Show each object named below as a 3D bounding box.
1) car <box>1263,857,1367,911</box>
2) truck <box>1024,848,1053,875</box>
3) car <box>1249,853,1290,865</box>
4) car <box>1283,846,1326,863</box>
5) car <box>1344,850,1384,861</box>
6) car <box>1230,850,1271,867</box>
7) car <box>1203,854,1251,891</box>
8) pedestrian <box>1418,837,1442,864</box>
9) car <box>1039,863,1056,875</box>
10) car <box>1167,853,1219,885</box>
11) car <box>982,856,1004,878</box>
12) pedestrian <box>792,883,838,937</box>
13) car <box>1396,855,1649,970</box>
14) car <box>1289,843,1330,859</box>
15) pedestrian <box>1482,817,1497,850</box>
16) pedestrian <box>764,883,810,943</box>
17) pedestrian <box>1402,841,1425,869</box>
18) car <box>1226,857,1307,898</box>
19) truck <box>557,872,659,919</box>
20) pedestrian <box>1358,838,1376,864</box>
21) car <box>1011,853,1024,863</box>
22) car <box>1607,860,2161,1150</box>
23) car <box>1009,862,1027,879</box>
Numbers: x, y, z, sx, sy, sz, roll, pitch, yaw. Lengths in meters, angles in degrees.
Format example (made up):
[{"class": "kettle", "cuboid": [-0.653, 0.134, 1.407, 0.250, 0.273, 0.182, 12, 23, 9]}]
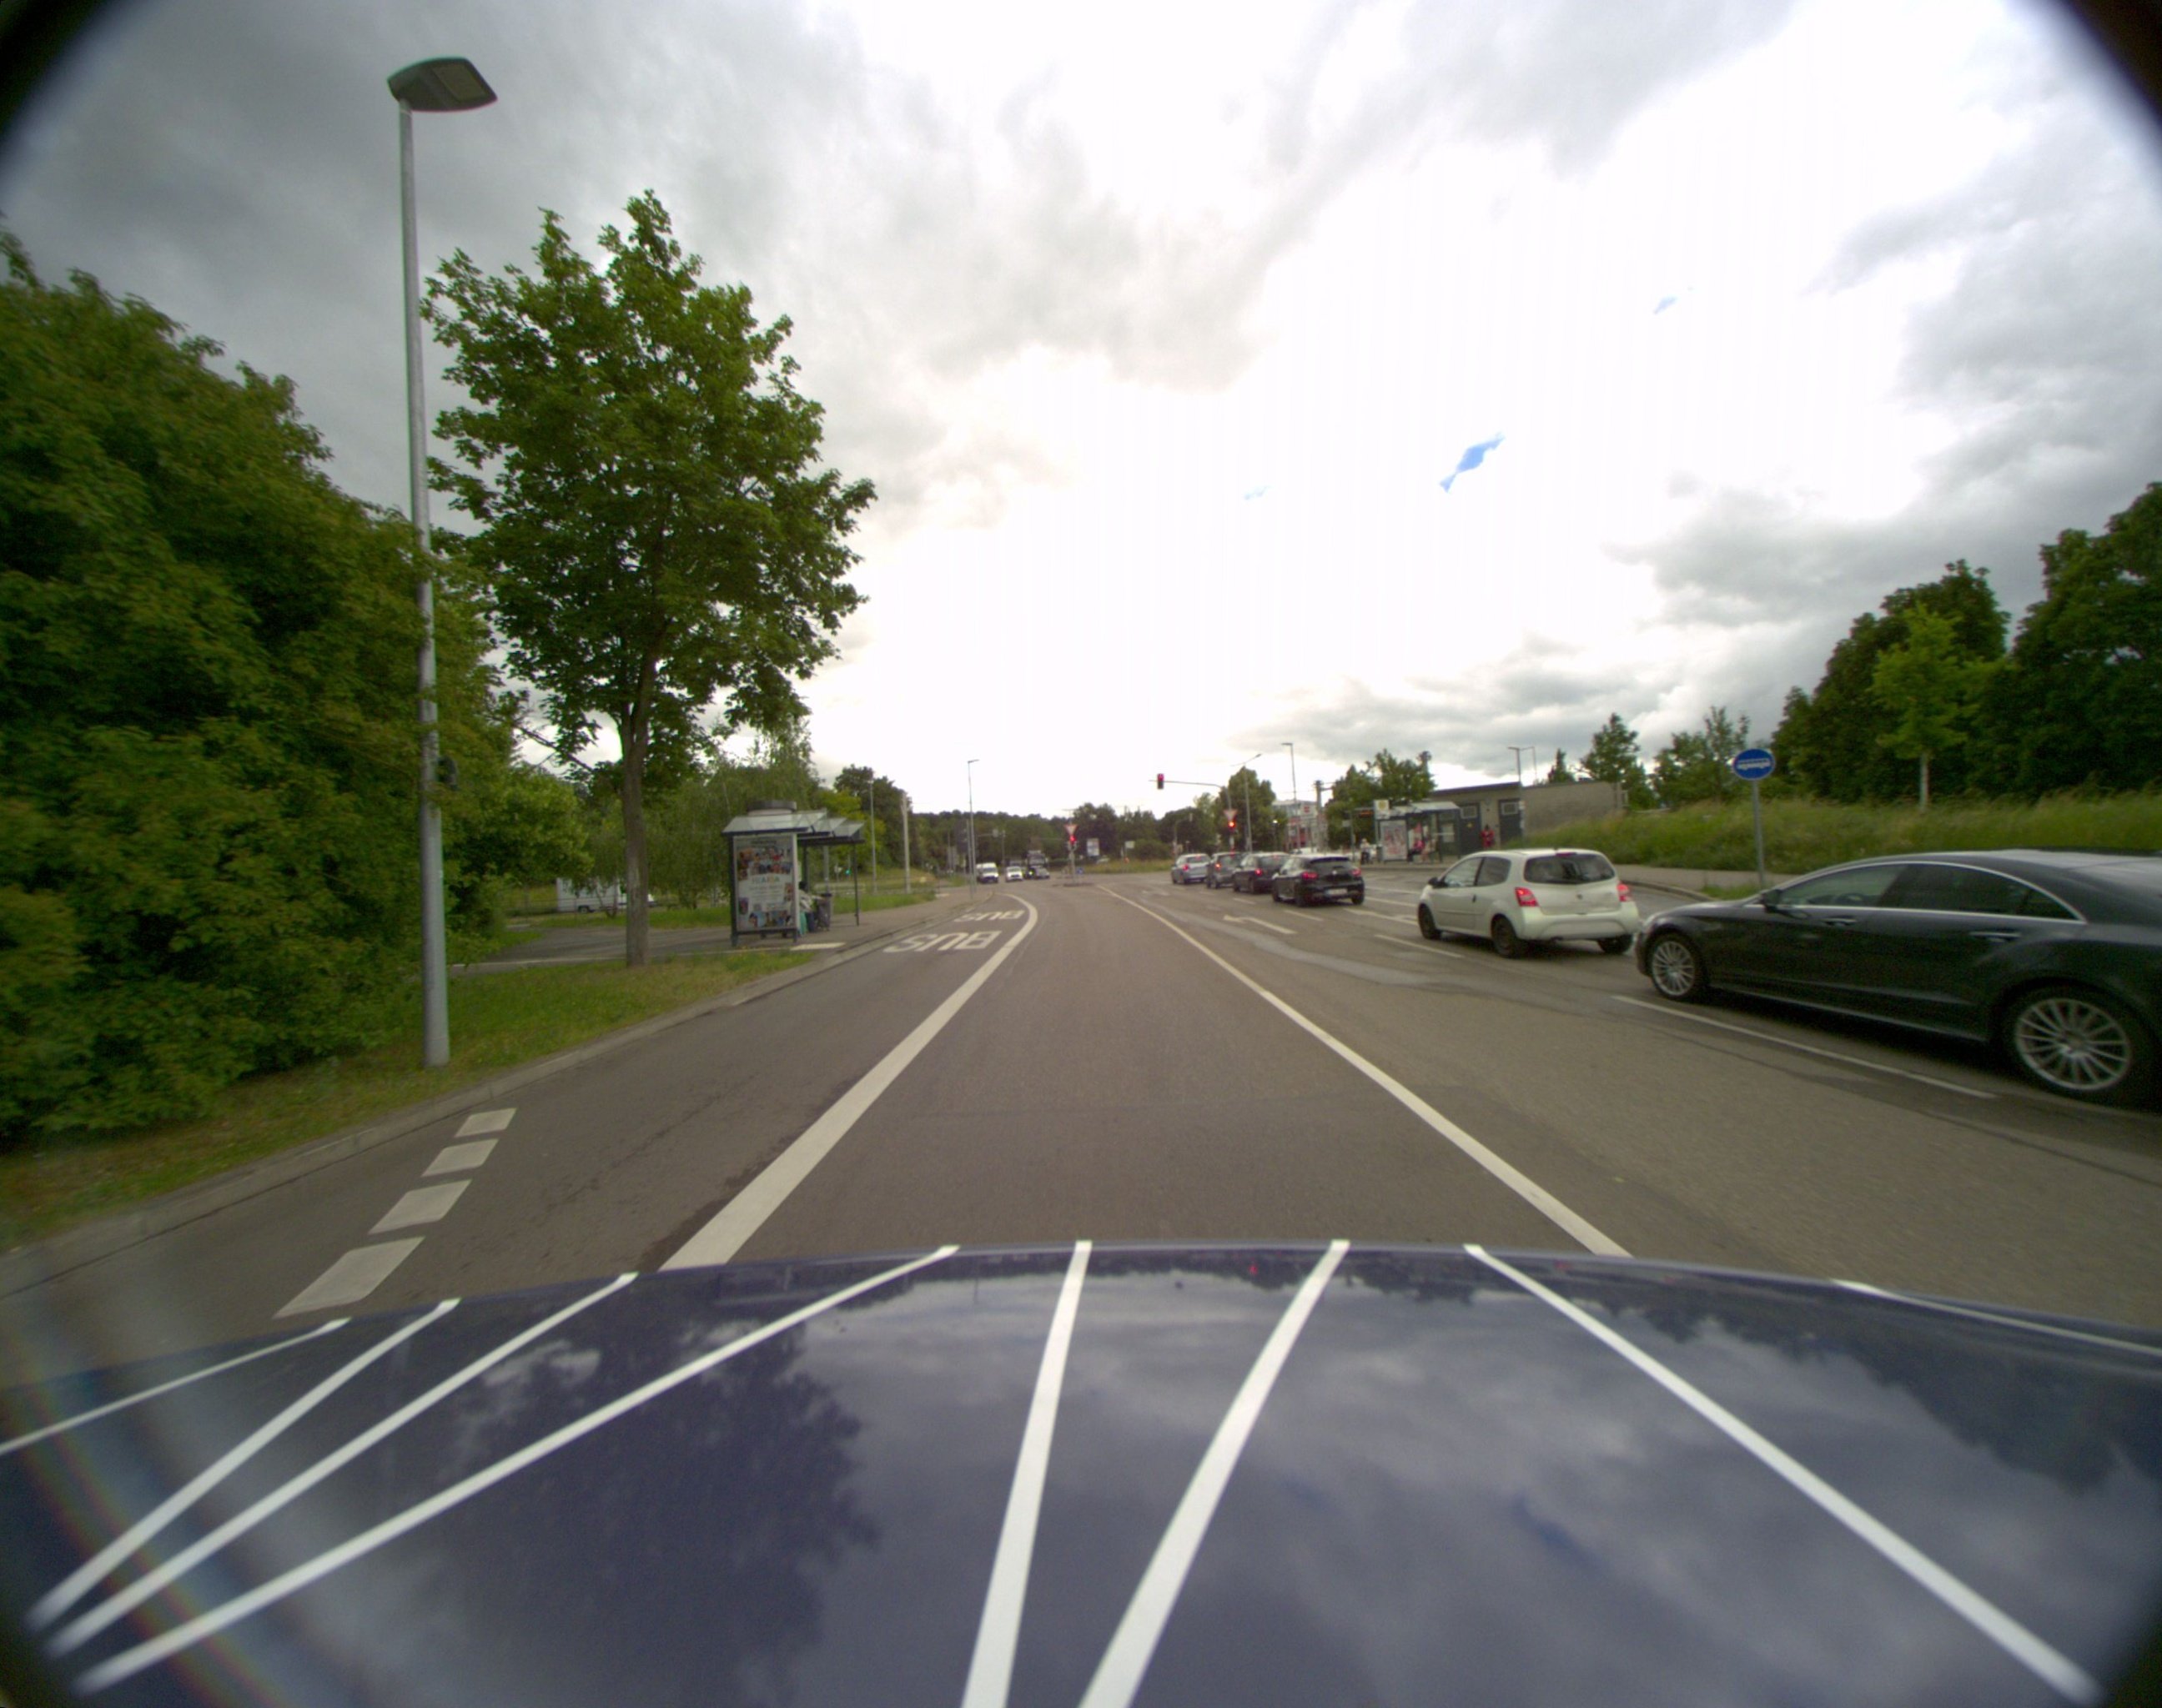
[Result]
[{"class": "car", "cuboid": [6.501, 0.797, 21.553, 1.643, 1.324, 4.061, -3, -1, 0]}, {"class": "truck", "cuboid": [-6.052, 1.147, 106.931, 3.075, 3.497, 5.956, -4, -1, -11]}, {"class": "car", "cuboid": [21.600, 0.583, 87.061, 4.223, 1.332, 1.813, 0, -1, -12]}, {"class": "car", "cuboid": [27.101, 0.033, 92.224, 4.698, 1.781, 1.813, -2, -1, -14]}, {"class": "car", "cuboid": [34.717, 0.148, 93.211, 4.222, 1.332, 1.814, 0, -1, -9]}, {"class": "car", "cuboid": [19.762, 0.535, 88.800, 4.222, 1.769, 1.814, -3, -1, -8]}, {"class": "car", "cuboid": [6.498, 0.818, 34.025, 1.432, 1.517, 2.775, -3, -1, -2]}, {"class": "pedestrian", "cuboid": [16.545, -0.153, 36.012, 0.774, 1.219, 0.550, -3, 0, -8]}, {"class": "car", "cuboid": [-4.359, 2.003, 99.056, 1.636, 1.433, 3.864, -3, -1, -10]}, {"class": "car", "cuboid": [5.916, 0.813, 40.506, 1.832, 1.526, 4.219, -3, -1, -4]}, {"class": "car", "cuboid": [-11.504, 1.751, 98.918, 2.228, 2.642, 5.956, -4, -1, -11]}, {"class": "pedestrian", "cuboid": [-6.608, 1.376, 18.846, 0.777, 1.245, 0.771, -3, -1, -41]}, {"class": "car", "cuboid": [6.446, 0.774, 11.630, 1.643, 1.382, 3.763, -3, -1, 0]}, {"class": "car", "cuboid": [28.698, -0.396, 95.547, 4.456, 1.894, 2.183, 0, -1, -14]}, {"class": "pedestrian", "cuboid": [21.312, -1.067, 39.605, 0.549, 1.660, 0.430, -4, -1, 37]}, {"class": "pedestrian", "cuboid": [-6.791, 1.352, 17.564, 0.730, 1.308, 0.589, -4, 0, 2]}, {"class": "pedestrian", "cuboid": [16.341, 0.040, 37.337, 0.774, 1.322, 0.550, -3, 0, -8]}, {"class": "car", "cuboid": [6.801, 0.839, 28.353, 1.804, 1.324, 4.380, -3, -1, -1]}, {"class": "truck", "cuboid": [-36.034, 3.109, 58.133, 6.280, 2.994, 2.107, -3, 3, -24]}, {"class": "pedestrian", "cuboid": [15.469, -0.166, 41.101, 0.550, 1.355, 0.774, -3, -1, -7]}, {"class": "car", "cuboid": [-13.672, 0.821, 164.091, 2.305, 2.001, 4.819, -4, -1, 1]}, {"class": "car", "cuboid": [6.230, 0.775, 5.344, 1.643, 1.382, 4.885, -3, -1, 0]}, {"class": "car", "cuboid": [-8.261, 2.186, 99.551, 2.120, 1.979, 4.986, -5, -1, -5]}]
